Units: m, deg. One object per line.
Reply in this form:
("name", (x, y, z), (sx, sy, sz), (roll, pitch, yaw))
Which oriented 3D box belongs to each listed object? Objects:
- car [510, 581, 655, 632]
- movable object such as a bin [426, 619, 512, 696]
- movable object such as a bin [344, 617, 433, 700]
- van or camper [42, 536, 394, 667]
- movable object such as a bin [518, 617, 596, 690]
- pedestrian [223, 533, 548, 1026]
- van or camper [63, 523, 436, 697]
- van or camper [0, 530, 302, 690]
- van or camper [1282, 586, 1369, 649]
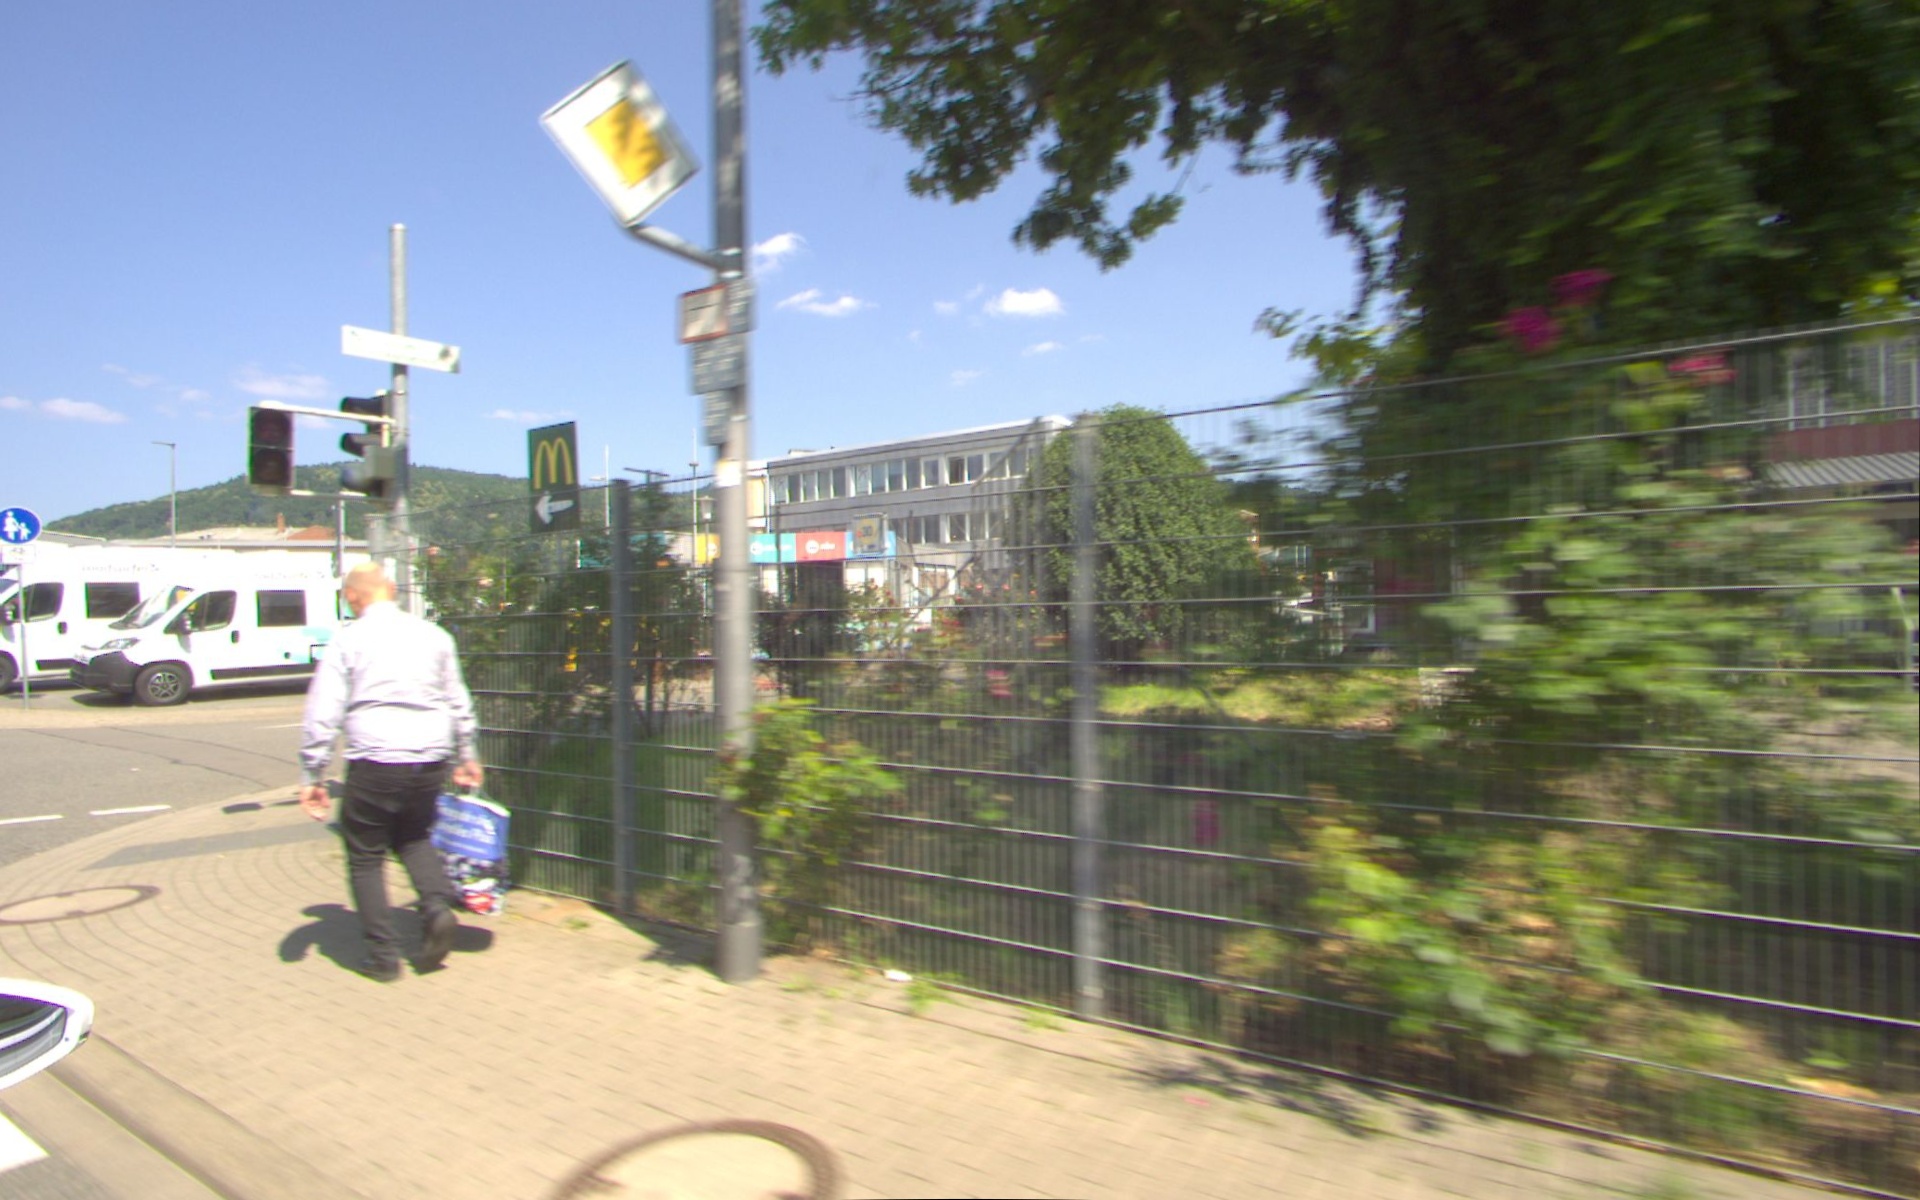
("car", (-15.900, 0.308, 42.450), (2.111, 2.040, 5.431), (0, -1, 39))
("movable object such as a bin", (-9.924, 1.130, 20.252), (1.008, 1.476, 1.278), (2, 1, 44))
("movable object such as a bin", (-10.894, 1.075, 19.083), (1.245, 1.476, 1.068), (1, 1, -45))
("van or camper", (-19.118, 0.003, 26.350), (2.302, 2.985, 7.043), (-1, 0, 33))
("movable object such as a bin", (-8.722, 1.136, 21.671), (1.007, 1.495, 1.230), (2, 1, 41))
("pedestrian", (-2.313, 0.632, 4.066), (0.874, 1.722, 0.811), (0, 1, 31))
("van or camper", (-13.357, 0.211, 19.232), (2.021, 2.851, 5.488), (2, 0, 37))
("van or camper", (-16.557, 0.176, 19.635), (2.063, 2.811, 5.792), (1, 0, 36))
("van or camper", (17.175, 0.823, 46.831), (2.314, 2.714, 6.704), (0, -1, 34))
